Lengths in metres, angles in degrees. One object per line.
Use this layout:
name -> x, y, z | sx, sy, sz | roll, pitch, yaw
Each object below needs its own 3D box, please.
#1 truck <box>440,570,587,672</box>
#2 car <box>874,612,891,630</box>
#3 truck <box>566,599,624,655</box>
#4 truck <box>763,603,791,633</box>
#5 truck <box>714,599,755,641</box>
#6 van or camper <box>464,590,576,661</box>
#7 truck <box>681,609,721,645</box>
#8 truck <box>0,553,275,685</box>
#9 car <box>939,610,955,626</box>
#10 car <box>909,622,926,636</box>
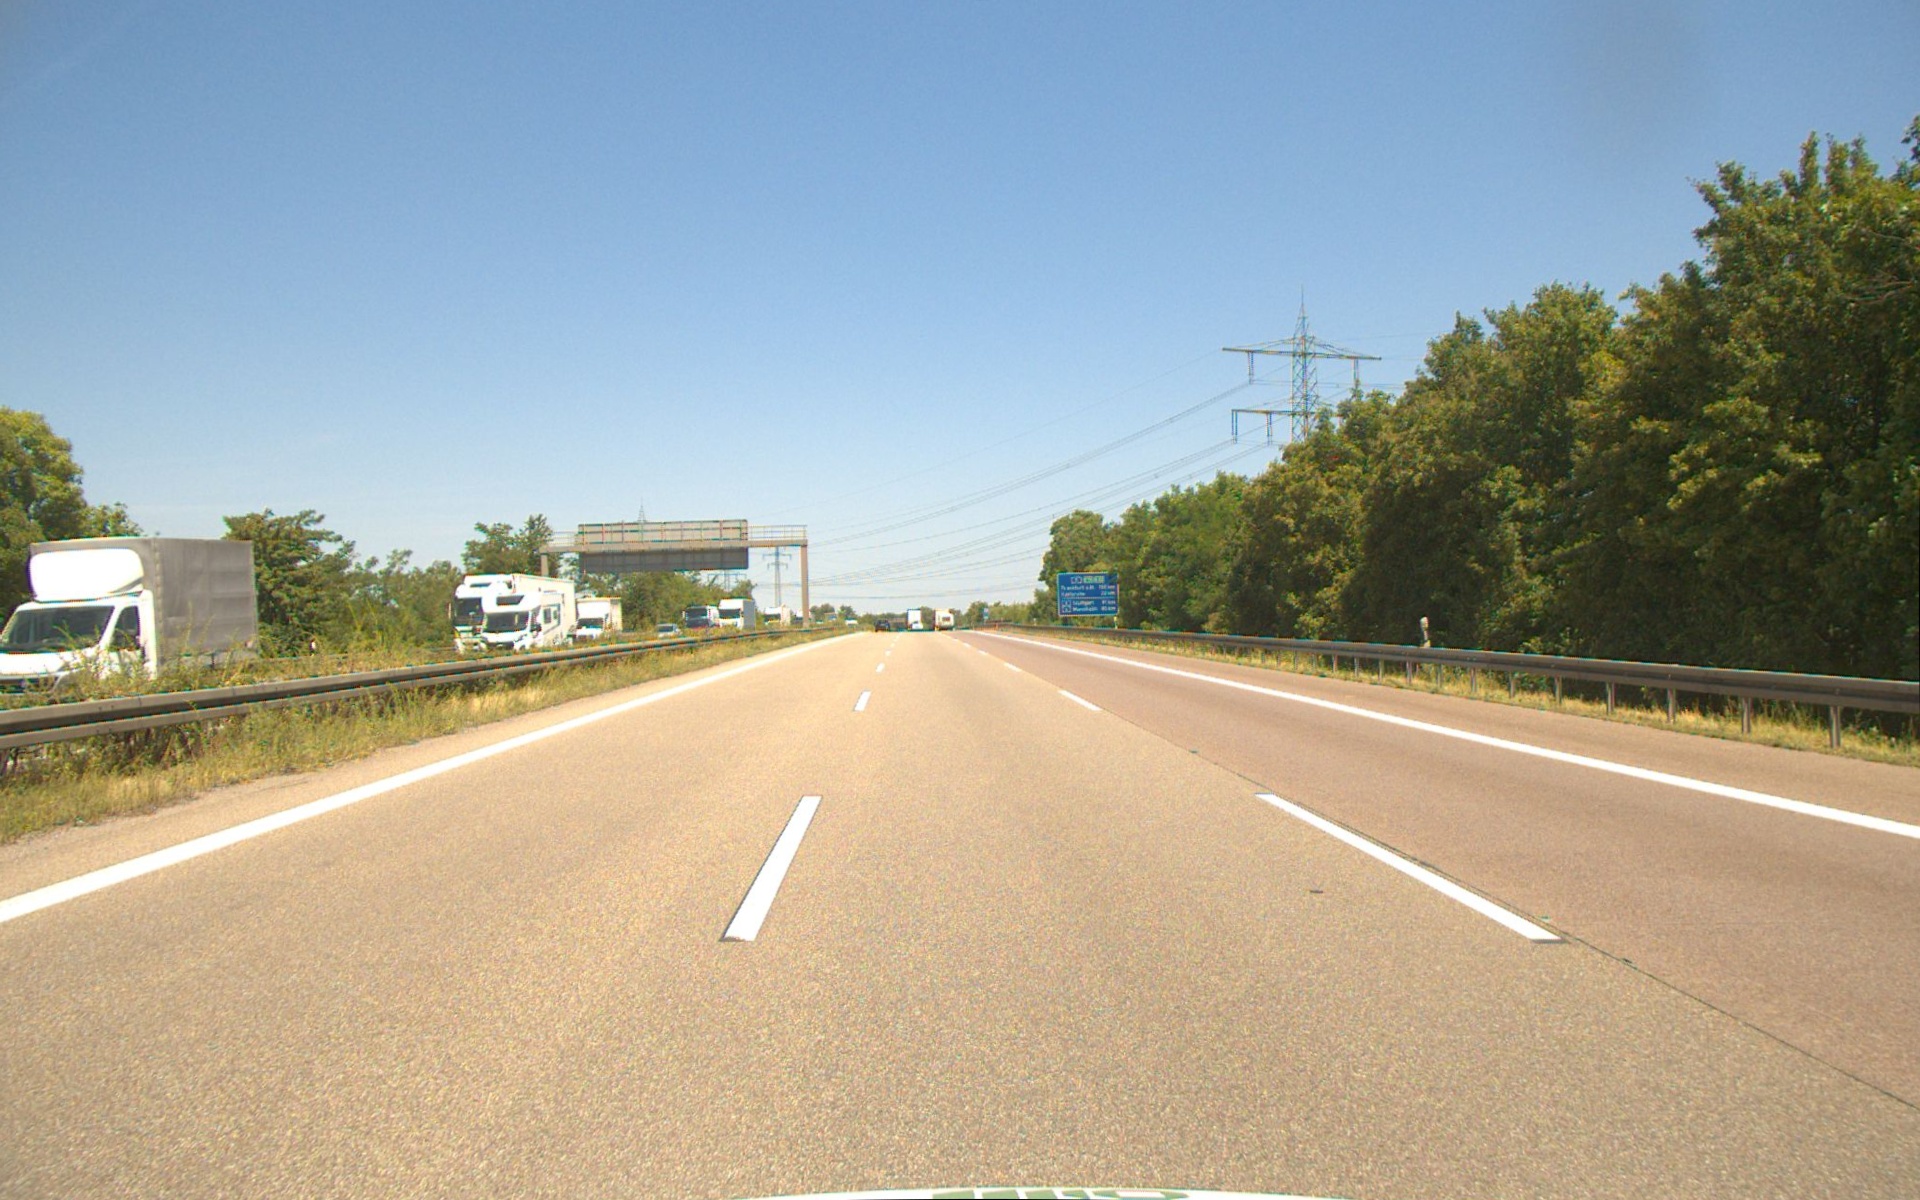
truck -> -22.442, 1.056, 84.515 | 3.152, 4.453, 17.184 | -4, 0, -2
car -> -8.691, 2.357, 185.062 | 1.755, 2.049, 3.886 | 0, -1, -1
truck -> -23.846, 1.758, 108.284 | 2.321, 3.525, 7.419 | -1, -1, -2
truck -> -27.351, 2.745, 248.194 | 2.902, 4.162, 17.018 | -1, -1, -2
truck -> -25.176, 2.282, 185.549 | 2.657, 4.466, 17.318 | -1, -1, -2
van or camper -> -17.571, 0.994, 66.549 | 2.418, 2.605, 7.807 | -2, -1, 0
truck -> -24.845, 2.567, 158.882 | 2.657, 3.264, 8.921 | -1, -1, -2
truck -> -15.453, 0.361, 30.492 | 2.673, 2.103, 7.136 | -2, -1, 0
car -> -1.755, 2.399, 216.130 | 1.953, 2.049, 3.998 | -2, -1, -2
car -> -6.304, 4.352, 246.279 | 2.132, 1.963, 4.612 | -2, -1, 2
